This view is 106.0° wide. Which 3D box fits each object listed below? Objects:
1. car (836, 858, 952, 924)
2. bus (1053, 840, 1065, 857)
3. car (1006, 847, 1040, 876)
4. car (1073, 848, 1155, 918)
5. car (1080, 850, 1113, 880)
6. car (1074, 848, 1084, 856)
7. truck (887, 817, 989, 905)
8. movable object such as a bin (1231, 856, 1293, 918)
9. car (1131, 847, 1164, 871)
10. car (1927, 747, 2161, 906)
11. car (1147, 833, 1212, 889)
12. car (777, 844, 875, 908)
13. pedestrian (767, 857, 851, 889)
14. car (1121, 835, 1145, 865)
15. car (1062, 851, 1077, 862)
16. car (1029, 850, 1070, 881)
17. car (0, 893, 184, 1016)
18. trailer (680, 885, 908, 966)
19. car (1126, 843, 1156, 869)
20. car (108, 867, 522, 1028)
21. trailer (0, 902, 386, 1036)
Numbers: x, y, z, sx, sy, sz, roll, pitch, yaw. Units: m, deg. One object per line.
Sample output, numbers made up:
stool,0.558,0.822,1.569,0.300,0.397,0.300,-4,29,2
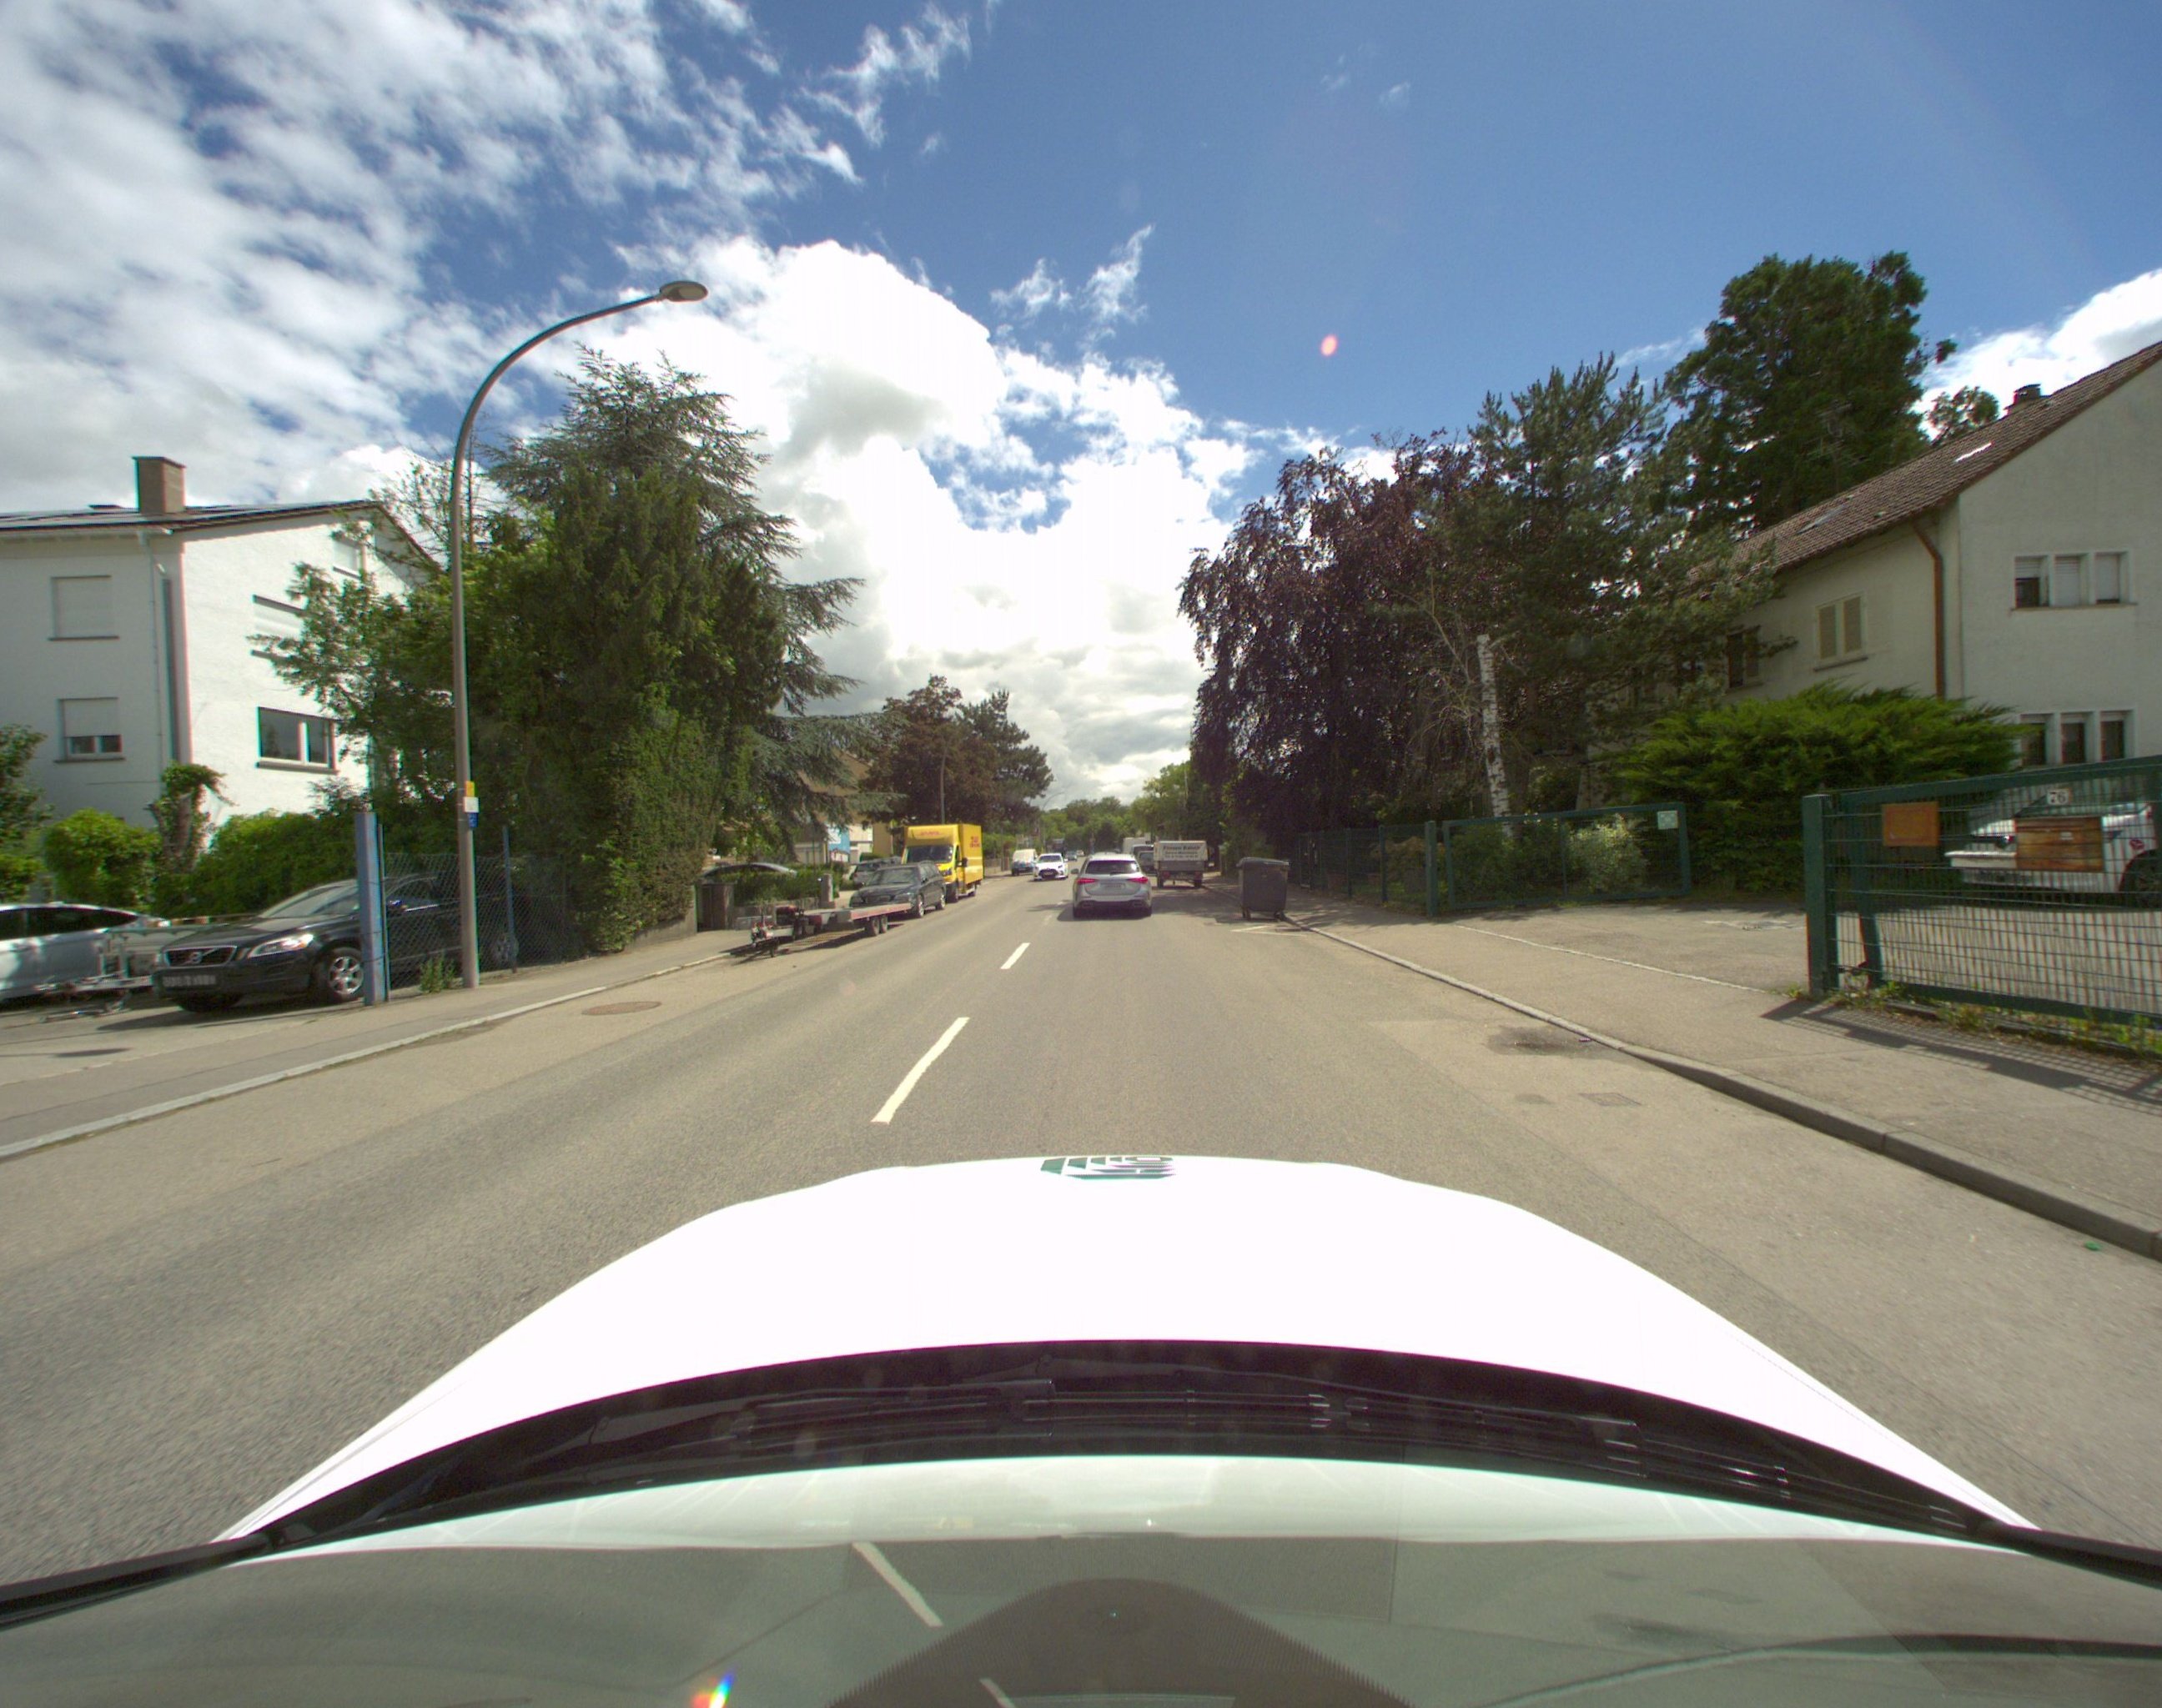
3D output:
car,-5.025,0.924,22.596,2.068,1.477,4.457,-3,0,0
bus,-4.322,-1.078,157.974,1.989,3.364,6.973,0,0,-4
car,-4.224,0.520,59.802,1.927,1.918,4.365,-3,0,1
car,0.717,0.647,19.991,1.779,1.484,4.315,-1,0,0
car,0.849,0.614,46.150,1.749,1.558,4.001,-2,0,1
car,-0.401,-0.545,181.387,1.930,1.634,4.357,-3,0,-4
truck,-5.140,0.183,30.511,2.066,2.814,7.083,-3,0,3
movable object such as a bin,3.905,0.697,17.699,1.080,1.271,1.380,0,0,2
car,4.321,0.342,53.212,1.779,1.484,4.315,-1,0,0
car,15.223,-0.482,11.109,4.994,1.929,2.003,-4,0,4
car,3.908,0.248,33.160,2.136,1.984,5.264,-2,0,2
car,-8.602,0.673,27.864,1.986,2.013,4.001,0,0,1
pedestrian,-15.042,1.022,45.243,3.978,1.706,1.998,0,0,-3
car,4.489,-0.357,70.750,1.779,2.518,4.315,-1,0,0
car,-1.618,0.371,118.285,1.927,1.492,4.365,-3,0,1
car,-1.684,0.591,45.398,1.927,1.492,4.365,-3,0,1
car,-15.783,1.481,11.186,1.987,1.544,4.376,-3,1,0
trailer,-5.132,1.233,15.743,2.221,0.925,5.948,-2,1,0
car,4.304,0.155,58.631,1.779,1.715,4.315,-1,0,0
car,-10.176,1.101,11.377,1.989,1.657,3.997,-3,1,-2
trailer,-12.522,1.455,11.354,1.853,1.181,4.376,-3,1,0
